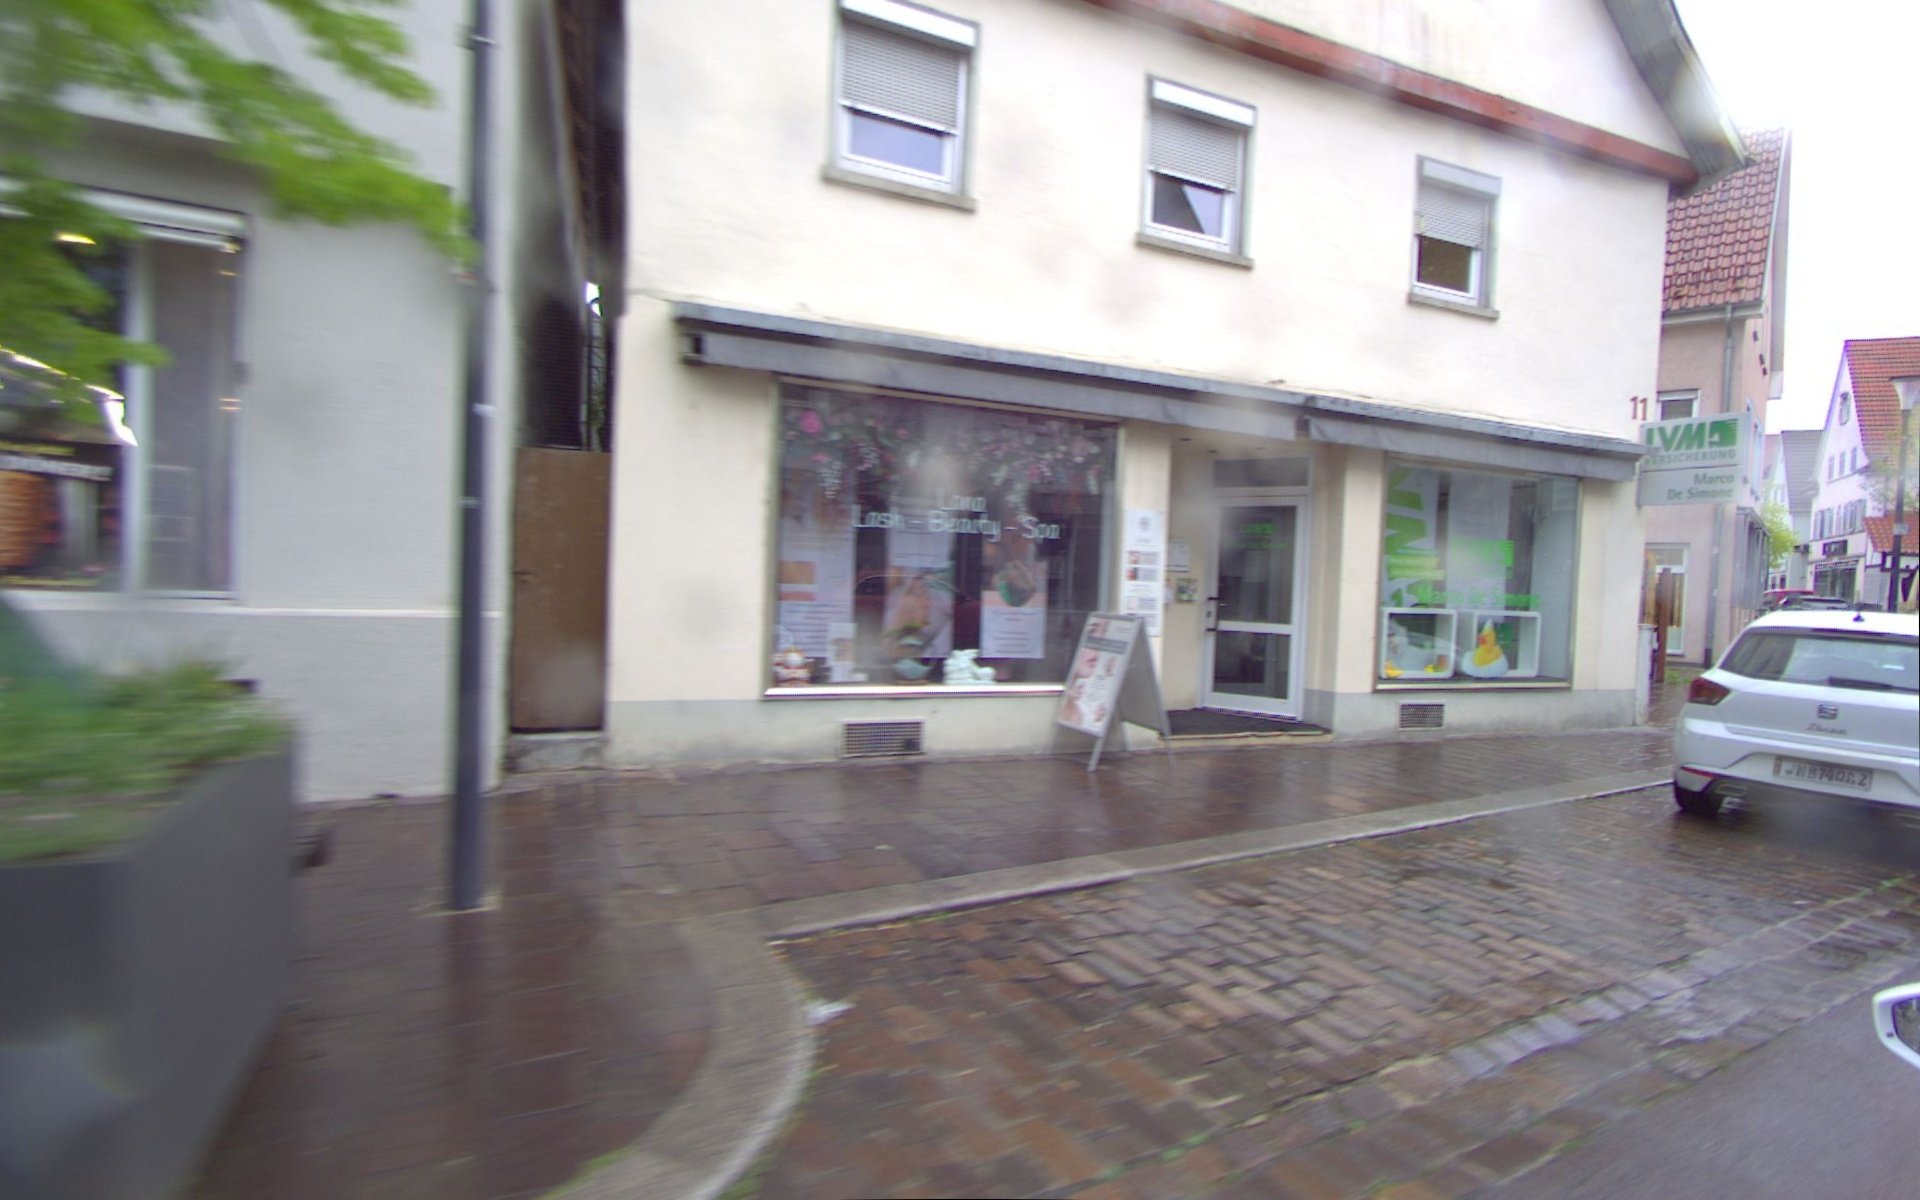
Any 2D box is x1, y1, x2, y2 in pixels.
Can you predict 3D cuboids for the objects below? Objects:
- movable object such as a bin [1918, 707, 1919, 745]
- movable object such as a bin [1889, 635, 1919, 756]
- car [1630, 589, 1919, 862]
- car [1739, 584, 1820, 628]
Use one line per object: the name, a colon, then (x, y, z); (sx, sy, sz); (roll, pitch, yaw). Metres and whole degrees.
movable object such as a bin: (10.347, 0.923, 10.206); (0.711, 1.159, 0.696); (0, 3, -32)
movable object such as a bin: (9.643, 0.938, 9.768); (0.711, 1.151, 0.678); (1, 2, -32)
car: (6.616, 0.694, 7.267); (4.039, 1.472, 1.833); (-1, 3, -40)
car: (38.679, 0.243, 47.521); (1.864, 1.836, 3.996); (5, 3, 25)
